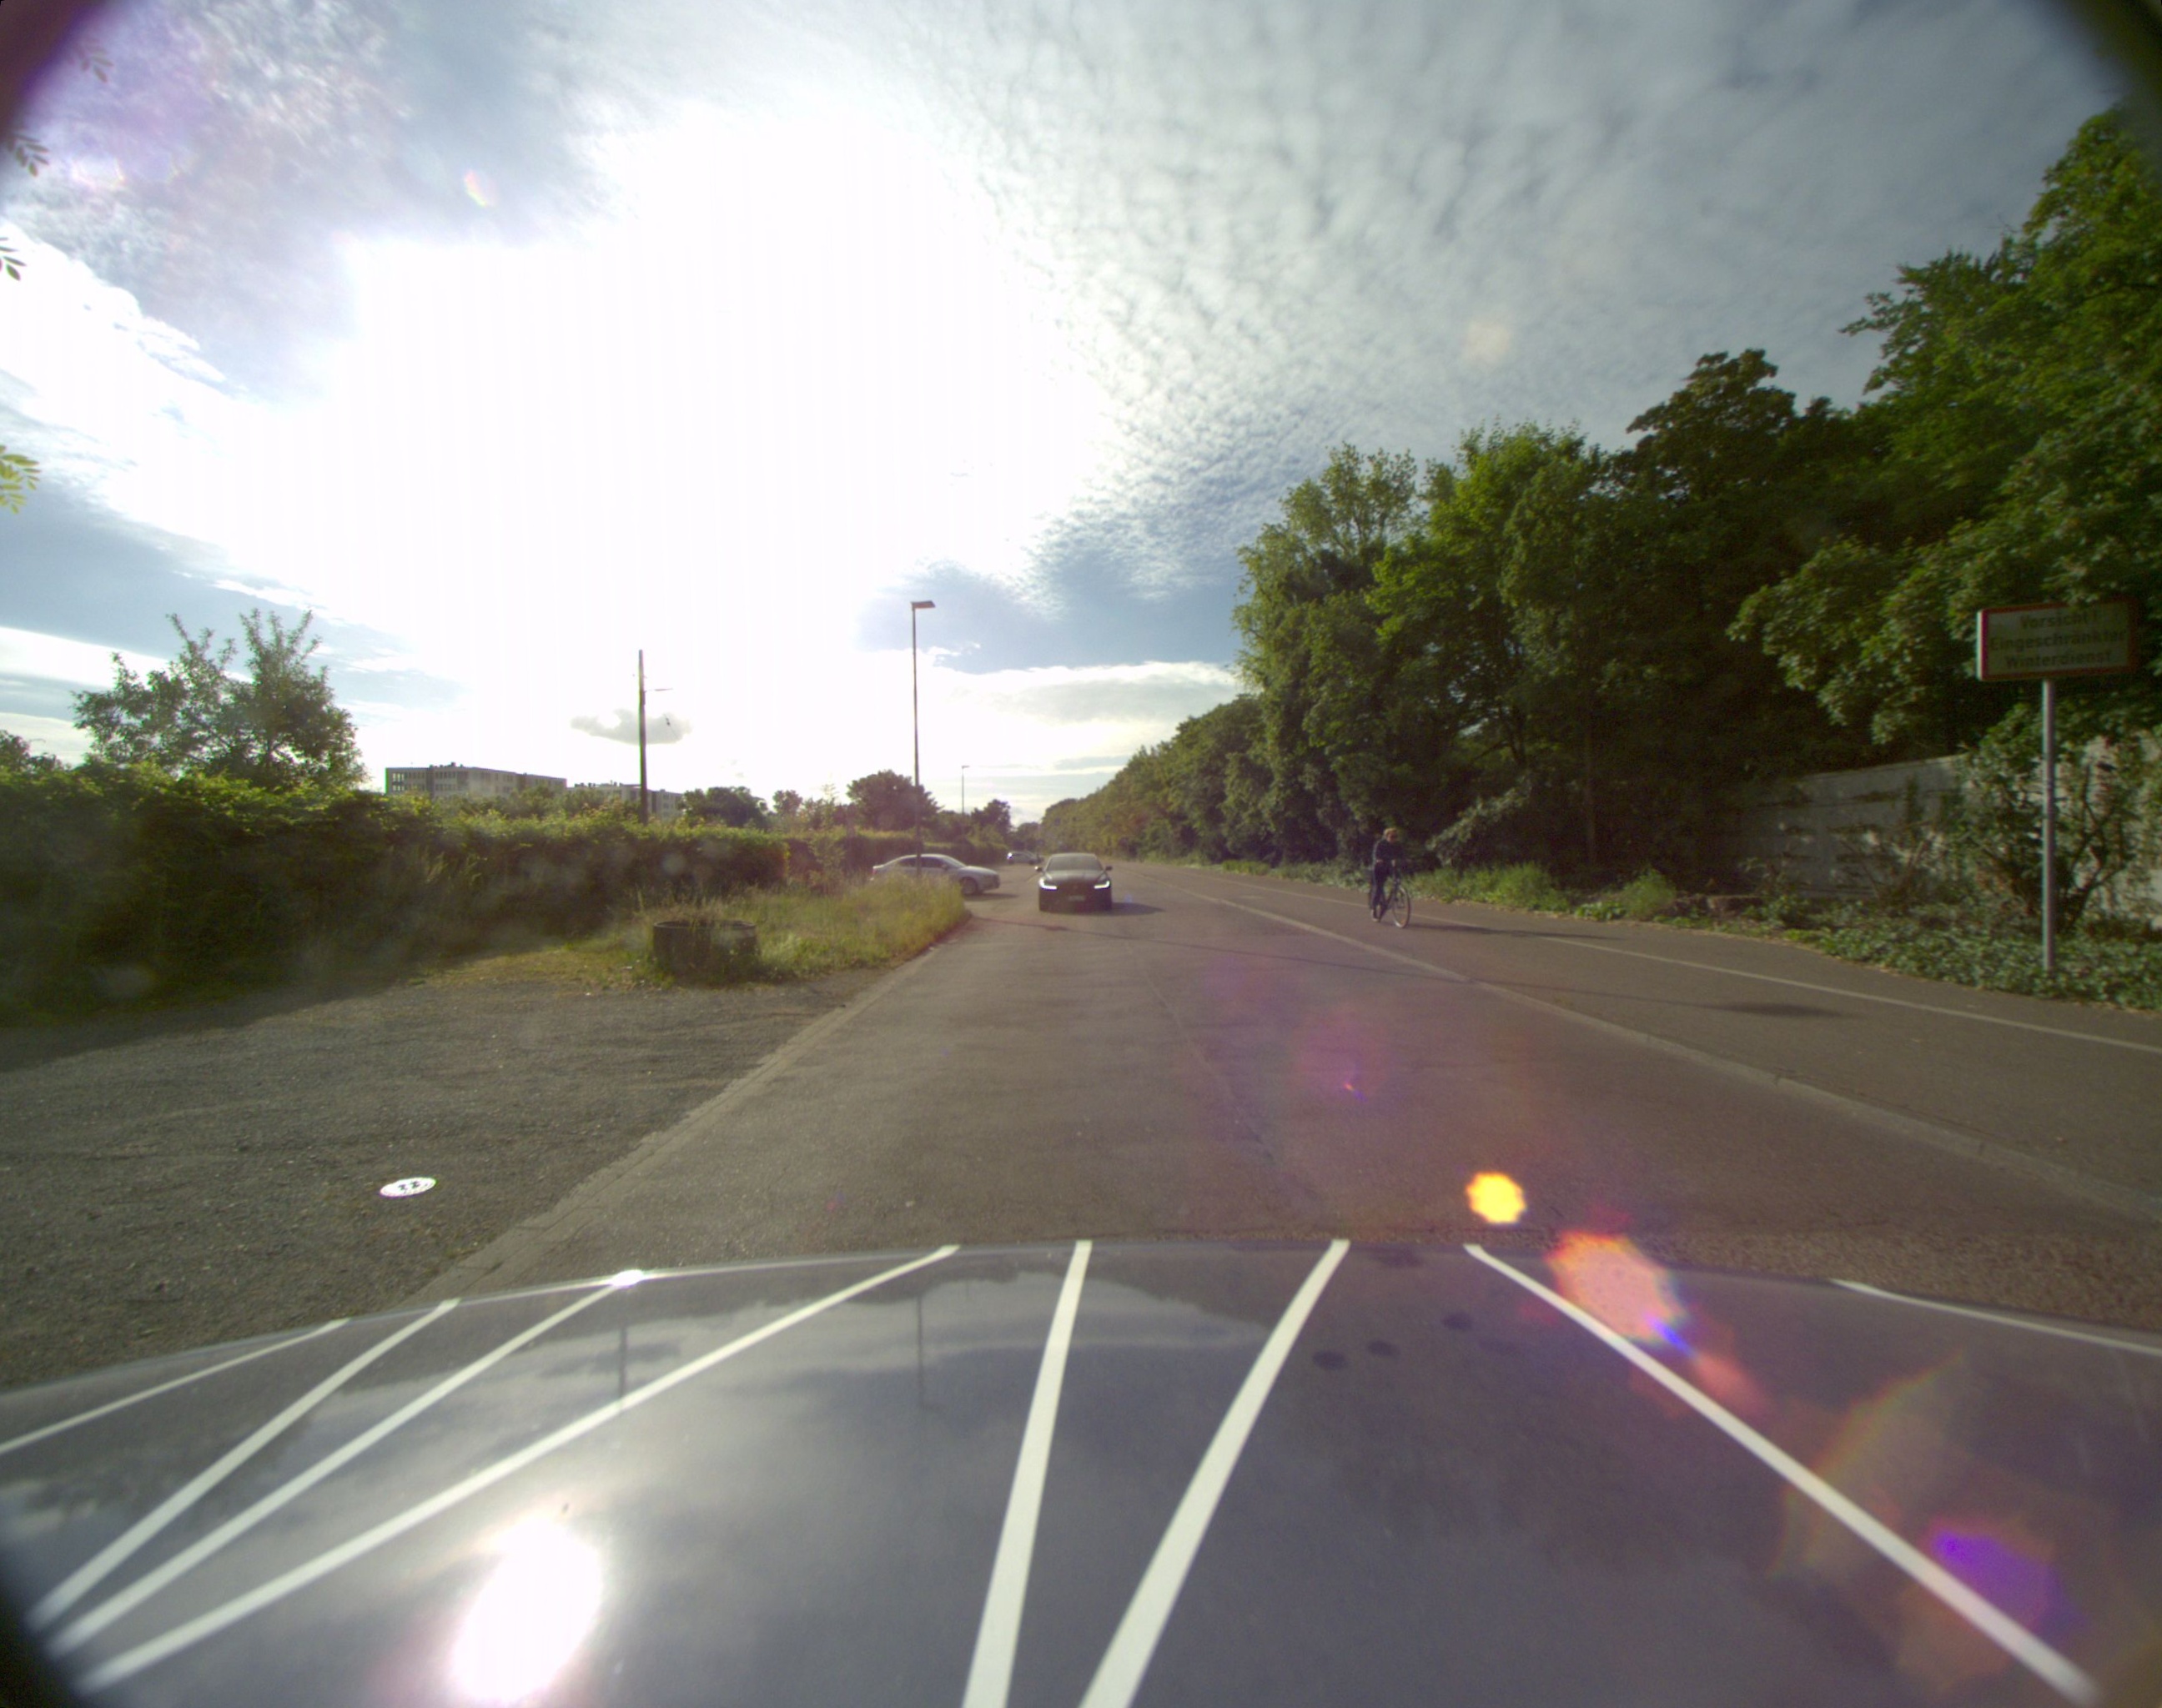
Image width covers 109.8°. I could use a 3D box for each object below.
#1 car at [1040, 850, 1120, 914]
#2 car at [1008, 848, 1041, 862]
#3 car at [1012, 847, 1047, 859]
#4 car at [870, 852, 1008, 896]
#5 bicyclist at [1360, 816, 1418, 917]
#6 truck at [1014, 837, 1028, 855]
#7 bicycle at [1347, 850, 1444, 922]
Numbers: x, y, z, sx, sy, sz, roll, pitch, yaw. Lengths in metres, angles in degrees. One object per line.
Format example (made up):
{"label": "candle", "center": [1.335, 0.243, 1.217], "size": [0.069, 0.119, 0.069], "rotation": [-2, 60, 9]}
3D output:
{"label": "car", "center": [-0.117, 0.675, 20.944], "size": [1.937, 1.501, 4.678], "rotation": [-1, 1, -2]}
{"label": "car", "center": [-6.787, 0.157, 91.728], "size": [3.867, 1.481, 1.692], "rotation": [2, 0, -2]}
{"label": "car", "center": [-6.934, -0.150, 102.520], "size": [4.600, 1.690, 1.763], "rotation": [0, 1, -1]}
{"label": "car", "center": [-4.885, 0.670, 26.550], "size": [4.371, 1.435, 1.933], "rotation": [0, 2, 6]}
{"label": "bicyclist", "center": [5.350, 0.201, 13.245], "size": [0.610, 1.667, 0.883], "rotation": [-2, 2, 0]}
{"label": "truck", "center": [-13.615, -1.783, 171.826], "size": [2.604, 3.935, 6.277], "rotation": [2, 0, -9]}
{"label": "bicycle", "center": [5.357, 0.498, 13.118], "size": [0.664, 1.091, 2.348], "rotation": [-2, 1, 0]}
